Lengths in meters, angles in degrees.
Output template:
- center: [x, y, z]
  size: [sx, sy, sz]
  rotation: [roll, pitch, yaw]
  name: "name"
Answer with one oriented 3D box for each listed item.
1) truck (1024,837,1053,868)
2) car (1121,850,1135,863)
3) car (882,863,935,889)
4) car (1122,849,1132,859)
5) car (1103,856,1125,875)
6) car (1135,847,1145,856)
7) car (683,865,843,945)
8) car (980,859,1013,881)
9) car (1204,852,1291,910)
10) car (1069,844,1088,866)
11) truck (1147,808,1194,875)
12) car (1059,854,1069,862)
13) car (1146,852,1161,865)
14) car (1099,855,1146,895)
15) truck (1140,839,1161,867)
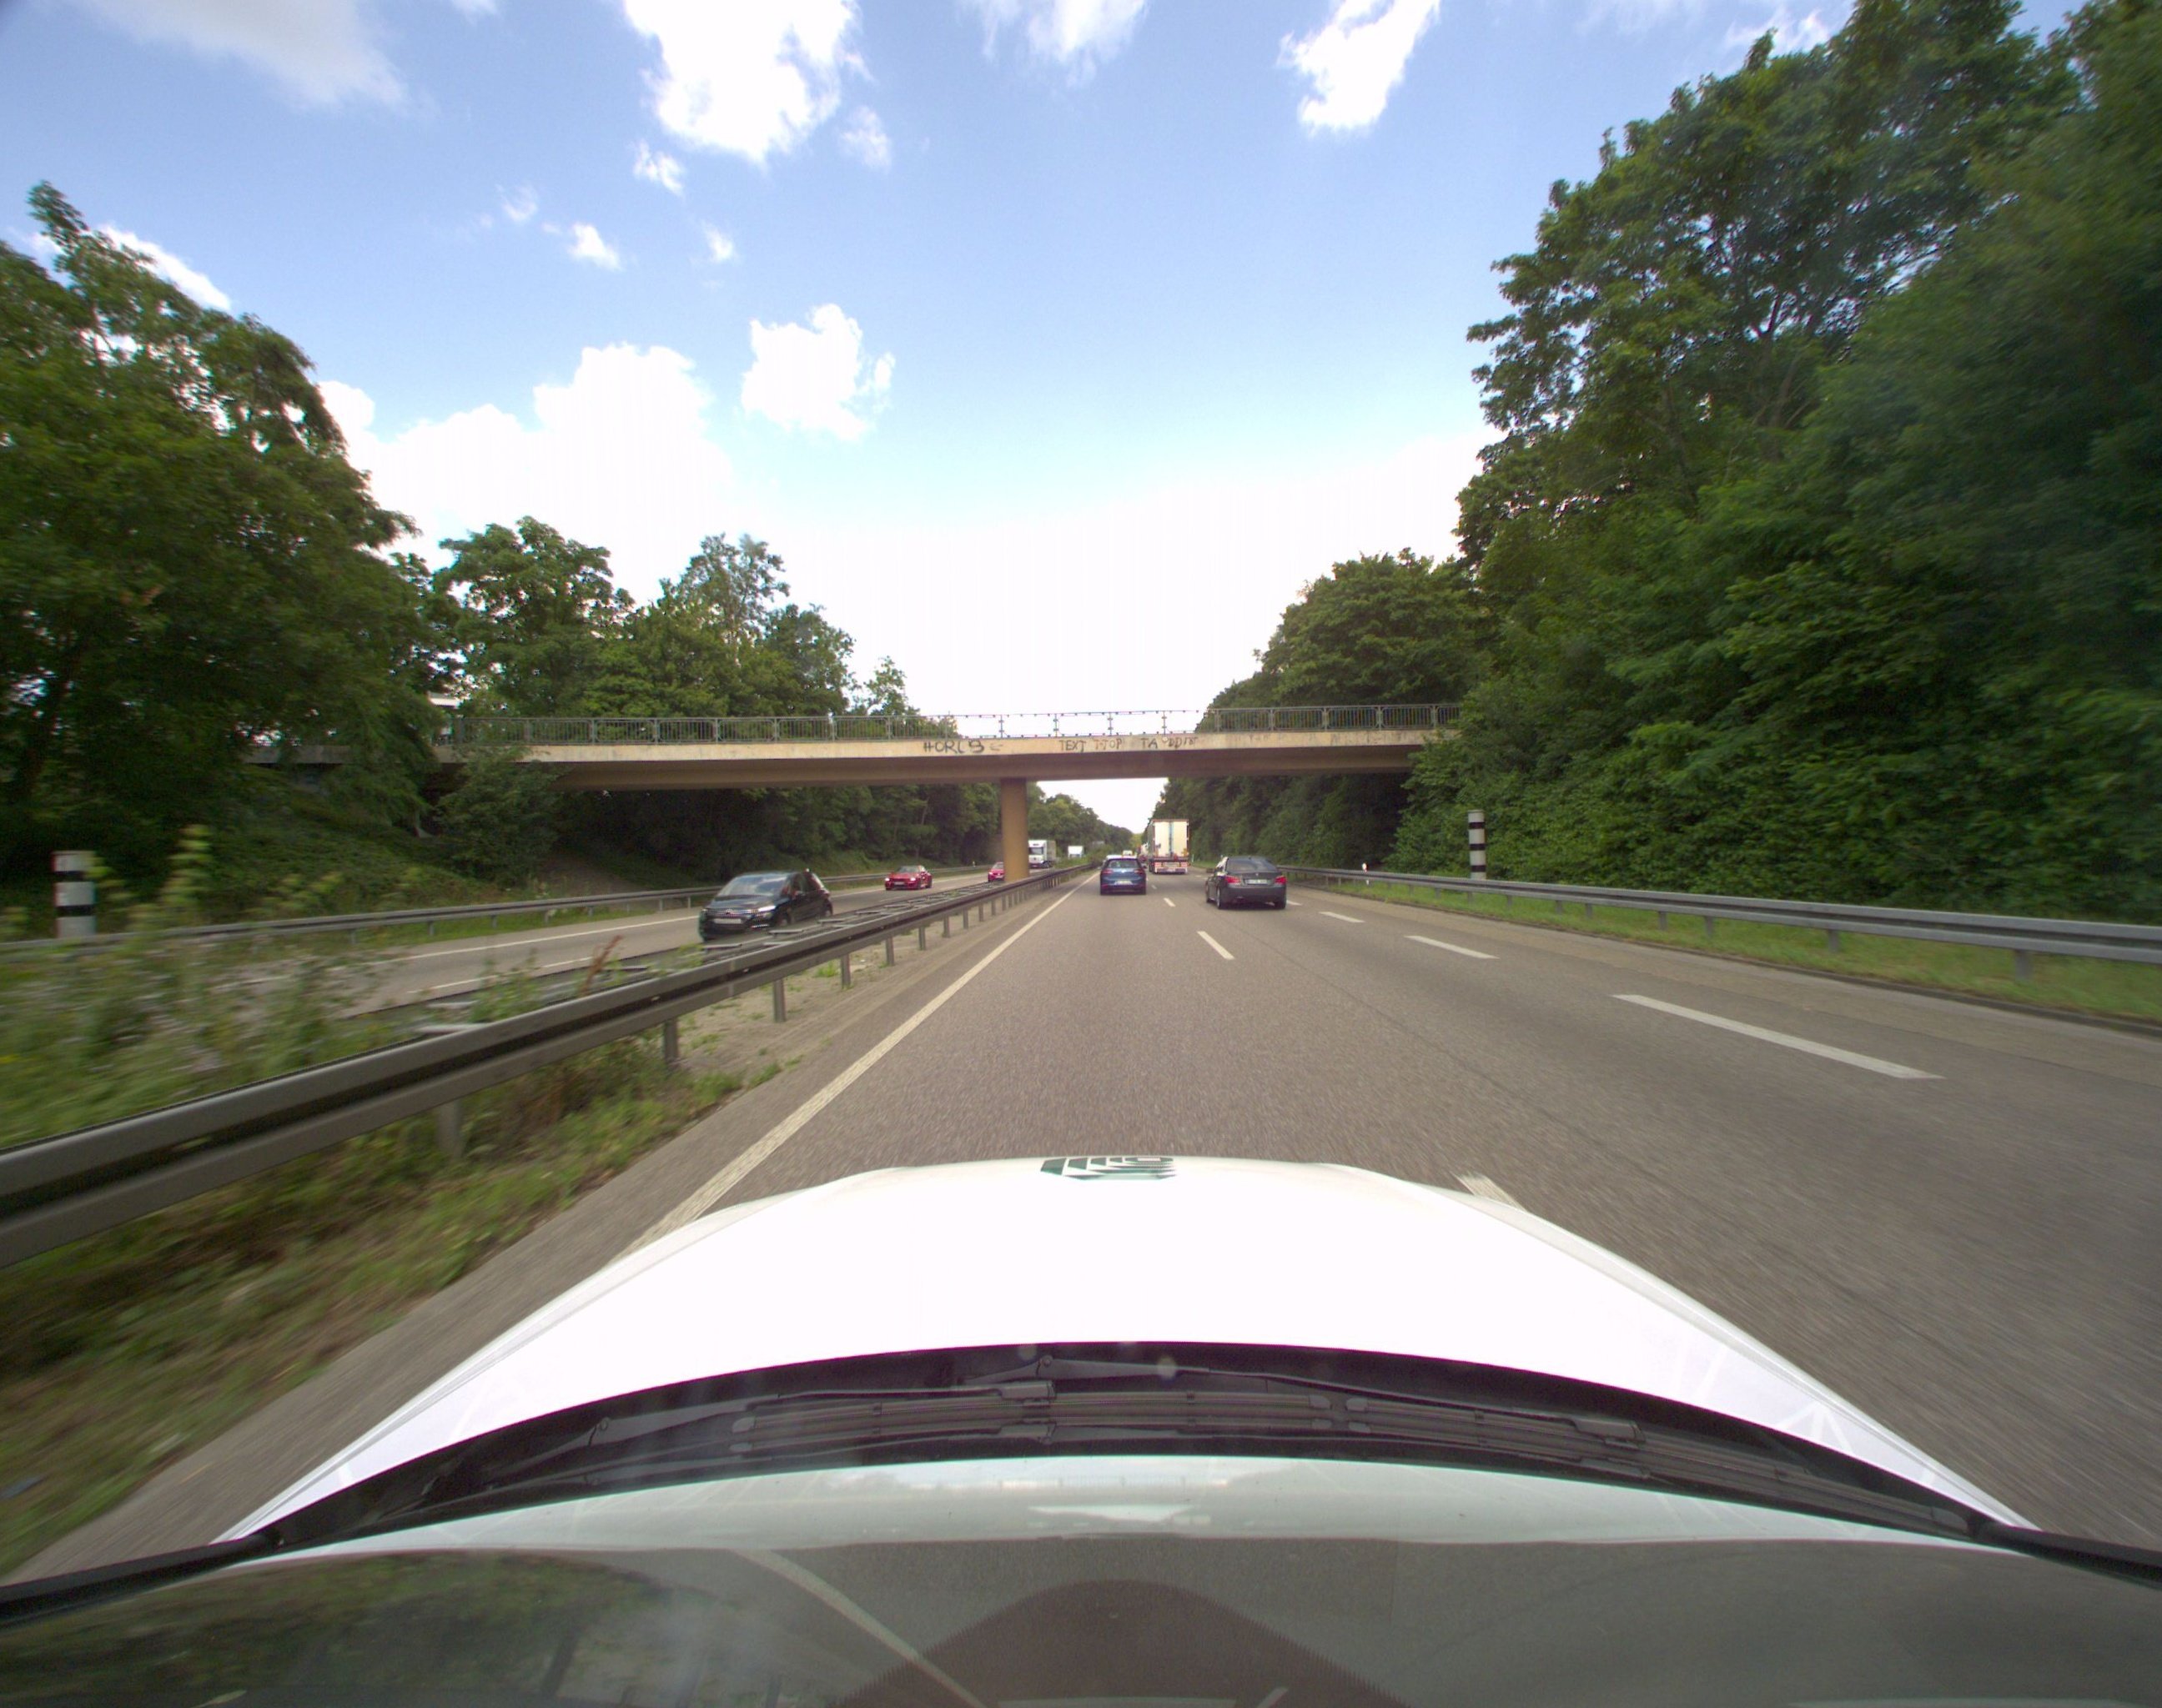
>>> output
- center: [-5.863, -0.192, 113.090]
  size: [3.027, 3.986, 6.755]
  rotation: [-2, 0, 4]
  name: "truck"
- center: [7.682, 0.369, 133.046]
  size: [1.944, 2.013, 4.006]
  rotation: [-2, 0, 5]
  name: "car"
- center: [-9.980, 1.242, 47.494]
  size: [1.857, 1.378, 4.807]
  rotation: [-2, 0, 2]
  name: "car"
- center: [10.049, 0.018, 177.225]
  size: [1.986, 2.255, 4.443]
  rotation: [-2, 0, 1]
  name: "car"
- center: [2.683, 0.888, 65.515]
  size: [1.658, 1.500, 4.156]
  rotation: [-1, 0, 4]
  name: "car"
- center: [14.554, -0.618, 200.753]
  size: [1.986, 2.327, 4.443]
  rotation: [-2, 0, 1]
  name: "car"
- center: [-7.419, 1.116, 19.558]
  size: [1.858, 1.589, 4.567]
  rotation: [-2, 0, 2]
  name: "car"
- center: [-5.980, 1.108, 57.925]
  size: [1.679, 1.476, 4.439]
  rotation: [-2, 0, 2]
  name: "car"
- center: [4.656, 0.702, 23.455]
  size: [1.767, 1.475, 4.884]
  rotation: [0, 0, 3]
  name: "car"
- center: [-0.339, 0.163, 124.529]
  size: [2.279, 3.232, 7.291]
  rotation: [-2, 0, 3]
  name: "car"
- center: [6.947, -0.888, 63.639]
  size: [3.226, 4.716, 11.024]
  rotation: [-2, 0, 6]
  name: "truck"
- center: [-3.578, 0.814, 173.883]
  size: [1.820, 1.661, 4.599]
  rotation: [0, 0, 4]
  name: "car"
- center: [9.726, 0.581, 109.641]
  size: [1.880, 1.729, 4.004]
  rotation: [-2, 0, 4]
  name: "car"
- center: [1.619, 0.778, 31.741]
  size: [1.698, 1.470, 4.003]
  rotation: [0, 0, 3]
  name: "car"
- center: [11.594, -0.084, 136.509]
  size: [3.218, 4.386, 12.984]
  rotation: [-1, -1, 4]
  name: "truck"
